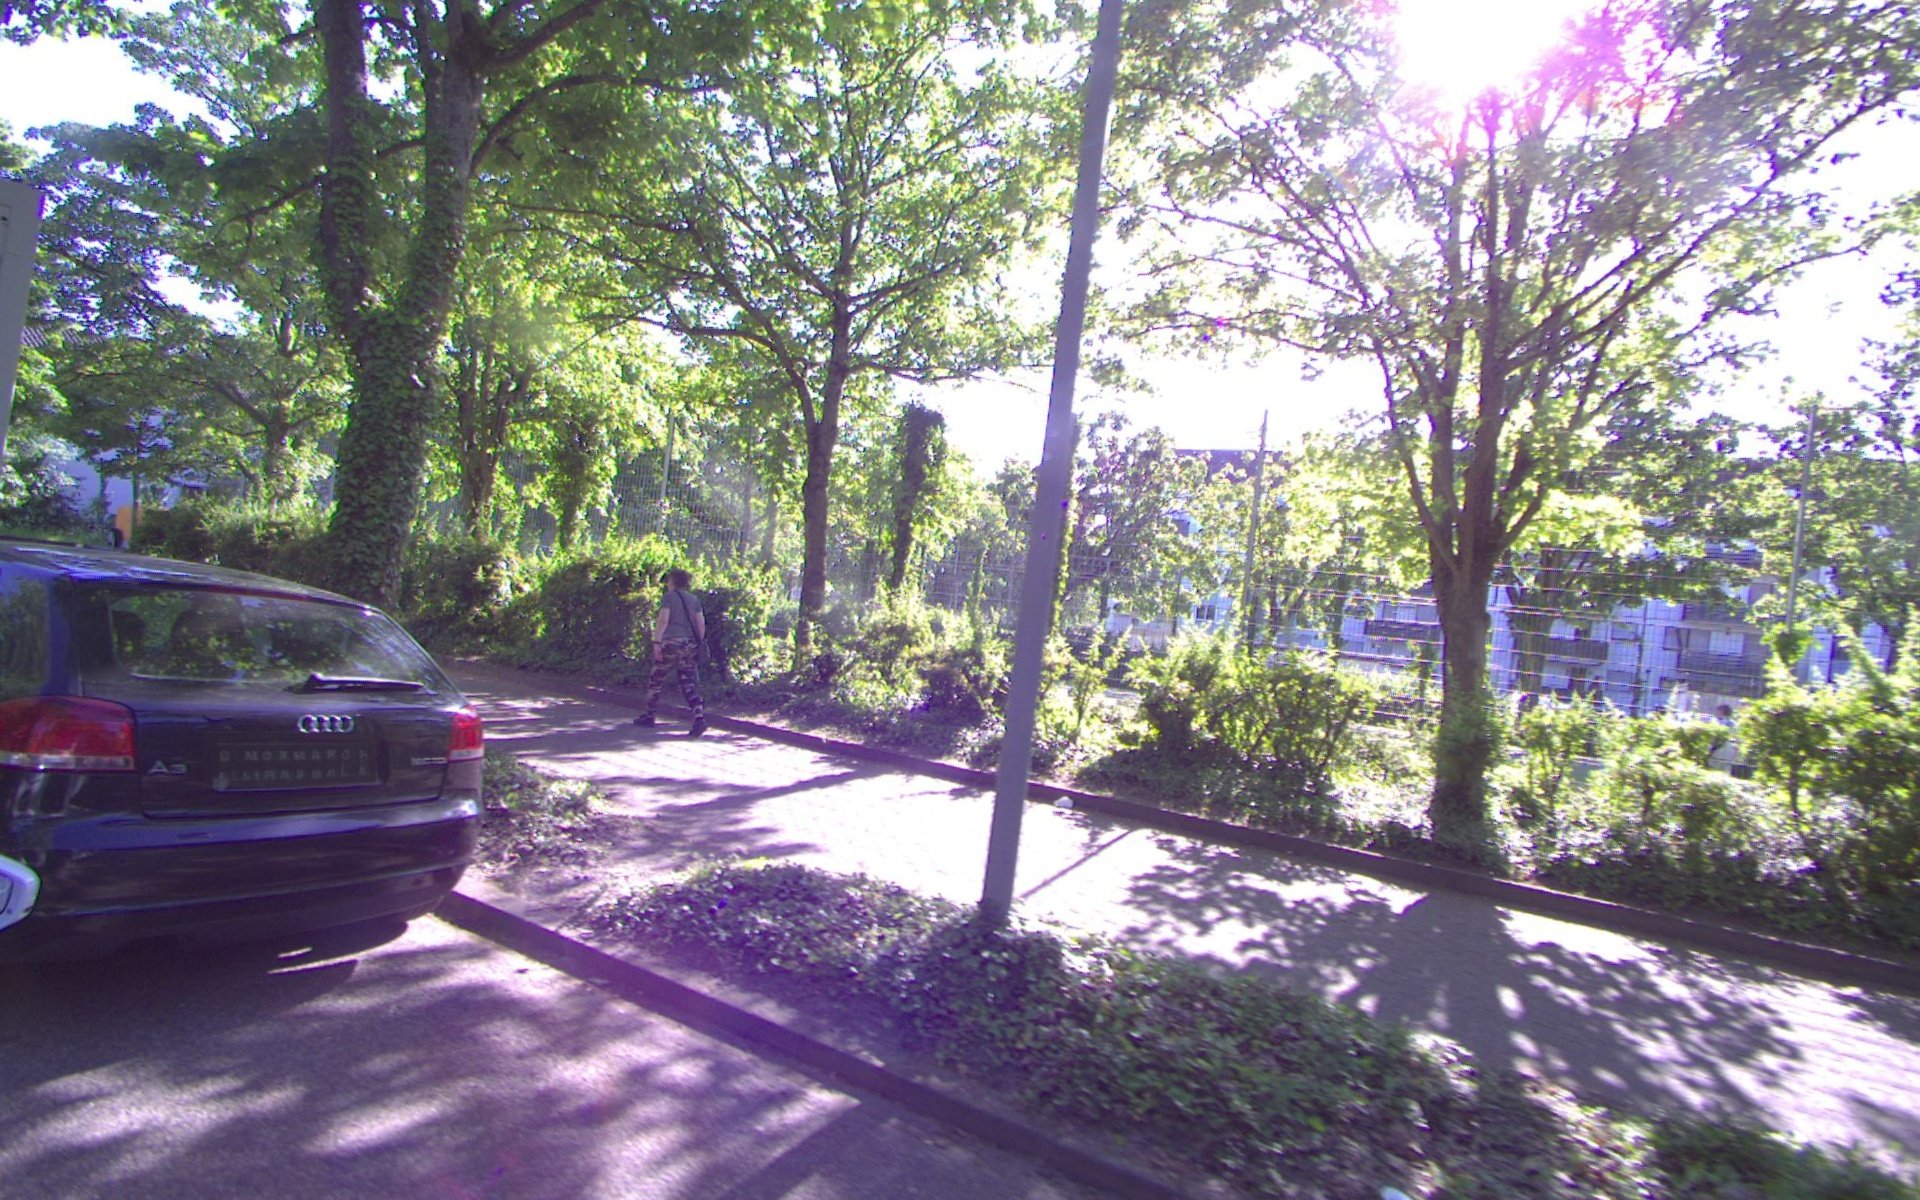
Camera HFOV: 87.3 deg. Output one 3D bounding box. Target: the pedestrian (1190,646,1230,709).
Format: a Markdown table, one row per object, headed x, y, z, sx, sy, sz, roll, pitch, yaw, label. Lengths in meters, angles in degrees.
| x | y | z | sx | sy | sz | roll | pitch | yaw | label |
| --- | --- | --- | --- | --- | --- | --- | --- | --- | --- |
| 6.106 | 1.890 | 24.568 | 0.623 | 1.437 | 0.505 | 8 | -2 | -14 | pedestrian |

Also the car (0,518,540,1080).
| x | y | z | sx | sy | sz | roll | pitch | yaw | label |
| --- | --- | --- | --- | --- | --- | --- | --- | --- | --- |
| -3.846 | 0.419 | 4.185 | 3.931 | 1.436 | 1.644 | 7 | -2 | 29 | car |

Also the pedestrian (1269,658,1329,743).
| x | y | z | sx | sy | sz | roll | pitch | yaw | label |
| --- | --- | --- | --- | --- | --- | --- | --- | --- | --- |
| 5.375 | 1.584 | 15.956 | 0.554 | 1.253 | 0.543 | 8 | -2 | -20 | pedestrian |

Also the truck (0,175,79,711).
| x | y | z | sx | sy | sz | roll | pitch | yaw | label |
| --- | --- | --- | --- | --- | --- | --- | --- | --- | --- |
| -12.253 | -1.788 | 9.326 | 10.174 | 4.041 | 2.780 | 7 | -2 | 31 | truck |

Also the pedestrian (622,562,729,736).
| x | y | z | sx | sy | sz | roll | pitch | yaw | label |
| --- | --- | --- | --- | --- | --- | --- | --- | --- | --- |
| -2.821 | 0.484 | 9.987 | 0.662 | 1.627 | 0.571 | 7 | -1 | 41 | pedestrian |

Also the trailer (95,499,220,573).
| x | y | z | sx | sy | sz | roll | pitch | yaw | label |
| --- | --- | --- | --- | --- | --- | --- | --- | --- | --- |
| -28.544 | -2.239 | 35.850 | 1.583 | 2.141 | 2.949 | 6 | -1 | 29 | trailer |
